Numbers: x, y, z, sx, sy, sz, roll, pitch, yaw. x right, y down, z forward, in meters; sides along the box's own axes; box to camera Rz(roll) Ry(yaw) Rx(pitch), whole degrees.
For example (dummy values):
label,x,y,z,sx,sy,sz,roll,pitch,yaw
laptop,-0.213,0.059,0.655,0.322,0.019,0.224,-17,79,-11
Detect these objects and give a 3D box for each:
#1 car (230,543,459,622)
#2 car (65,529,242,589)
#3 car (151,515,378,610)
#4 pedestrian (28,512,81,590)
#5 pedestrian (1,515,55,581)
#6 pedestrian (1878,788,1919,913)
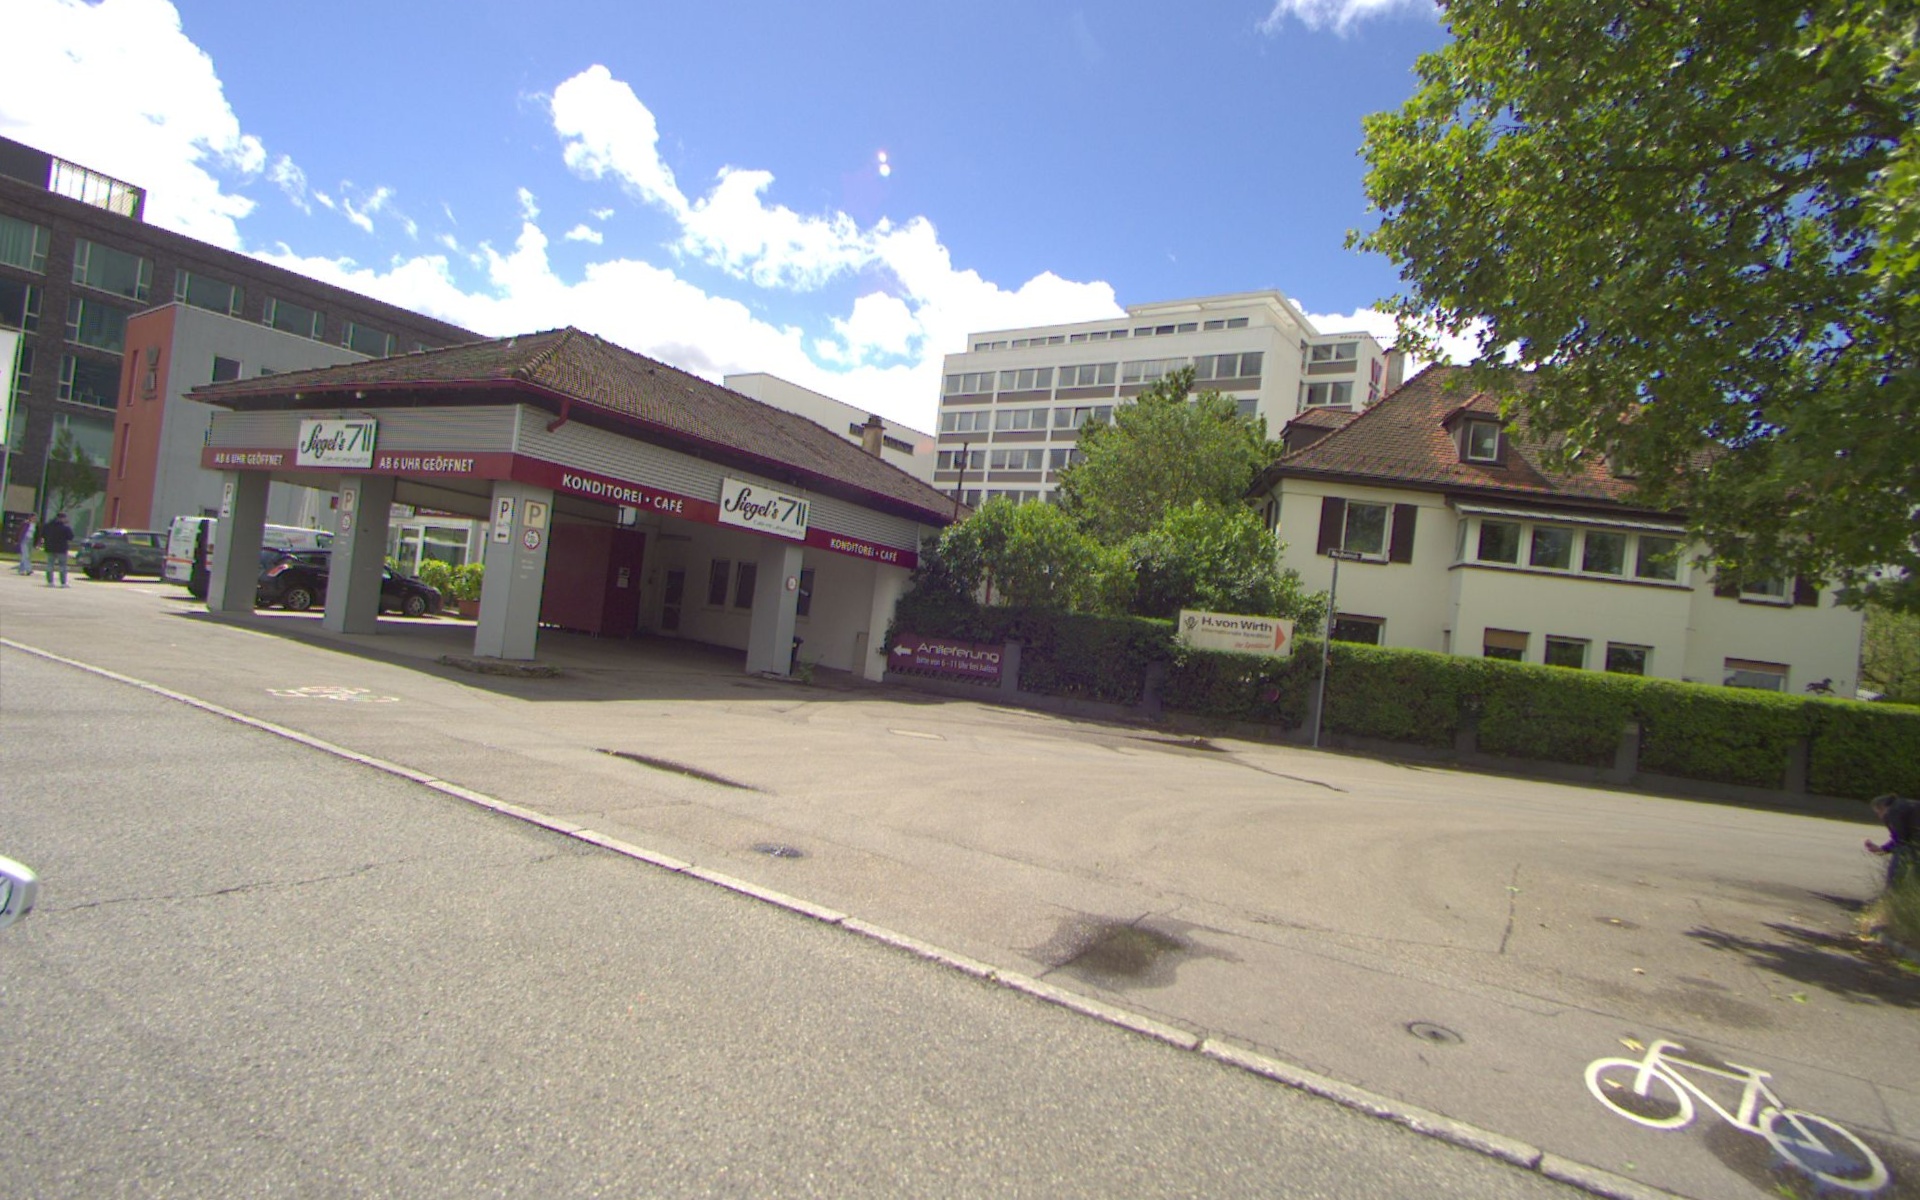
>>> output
label,x,y,z,sx,sy,sz,roll,pitch,yaw
car,-14.729,-0.364,24.315,1.816,1.532,4.303,5,0,32
car,-24.045,-1.184,30.108,1.691,1.460,3.759,5,1,32
car,-17.515,-0.898,25.542,1.996,1.961,4.233,5,0,32
pedestrian,-21.026,-1.129,23.368,0.675,1.716,0.593,7,-1,-33
pedestrian,-26.263,-1.467,28.343,0.908,1.716,0.709,6,-1,29
pedestrian,10.448,2.727,10.918,0.564,1.262,0.511,7,1,-40
